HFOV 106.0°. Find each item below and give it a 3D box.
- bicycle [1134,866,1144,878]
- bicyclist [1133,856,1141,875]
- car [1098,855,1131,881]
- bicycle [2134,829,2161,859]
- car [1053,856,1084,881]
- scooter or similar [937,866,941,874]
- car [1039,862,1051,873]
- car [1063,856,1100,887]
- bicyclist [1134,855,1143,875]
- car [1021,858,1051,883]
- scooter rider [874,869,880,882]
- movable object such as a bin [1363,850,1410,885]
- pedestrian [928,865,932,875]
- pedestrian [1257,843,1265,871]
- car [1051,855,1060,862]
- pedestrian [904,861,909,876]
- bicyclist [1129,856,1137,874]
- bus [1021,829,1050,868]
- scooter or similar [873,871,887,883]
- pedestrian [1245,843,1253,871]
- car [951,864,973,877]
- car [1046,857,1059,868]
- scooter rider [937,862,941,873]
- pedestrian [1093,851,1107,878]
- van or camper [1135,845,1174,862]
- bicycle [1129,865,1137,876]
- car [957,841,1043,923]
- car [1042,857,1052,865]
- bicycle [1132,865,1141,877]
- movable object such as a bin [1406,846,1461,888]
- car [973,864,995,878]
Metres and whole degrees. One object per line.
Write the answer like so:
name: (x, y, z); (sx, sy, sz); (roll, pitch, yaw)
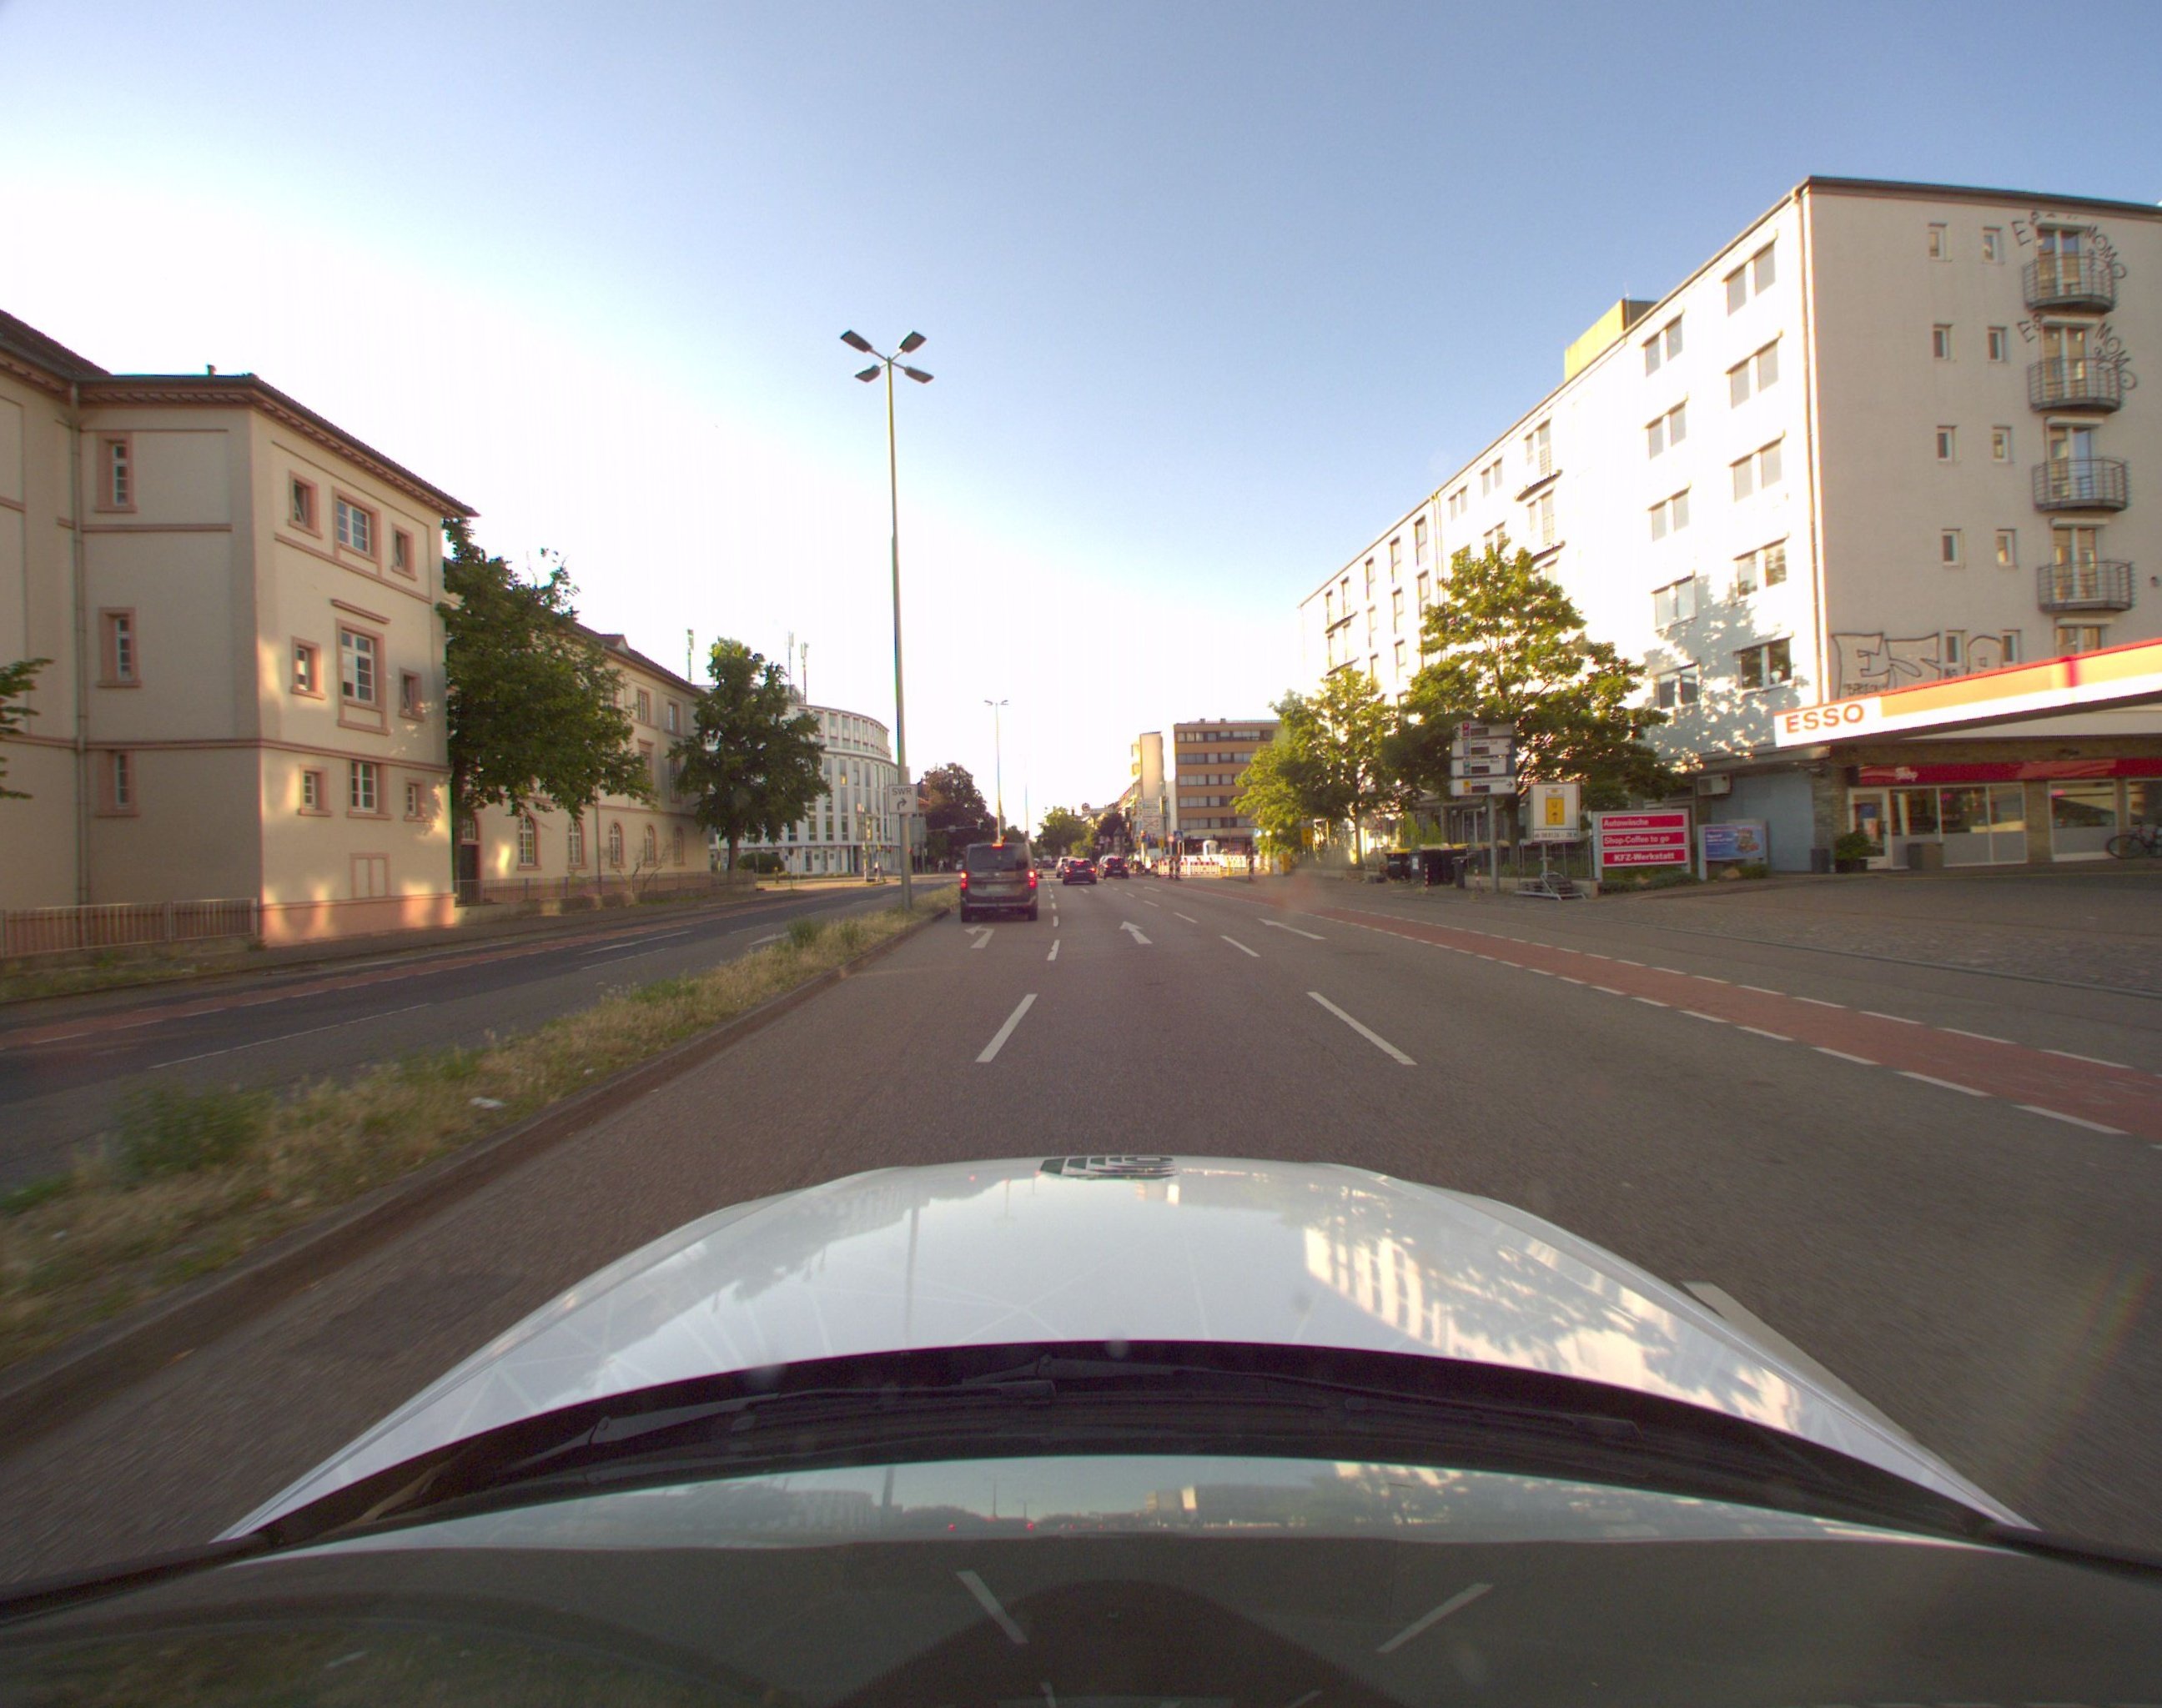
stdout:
bicycle: (4.307, 1.307, 60.565); (0.531, 0.847, 1.682); (-2, 0, -1)
bicyclist: (4.297, 0.859, 62.783); (0.539, 1.459, 0.641); (-2, -1, -1)
car: (2.261, 0.914, 55.358); (1.987, 1.656, 4.297); (-2, 0, -1)
bicycle: (30.547, -0.293, 22.417); (0.623, 0.829, 1.802); (-2, 1, -22)
car: (-0.967, 1.054, 60.349); (1.990, 1.656, 4.292); (-2, 0, -4)
scooter or similar: (-17.801, 2.001, 102.327); (0.357, 0.896, 0.904); (-2, 0, -1)
car: (-5.772, 2.135, 131.015); (1.737, 1.586, 3.998); (-2, 0, -1)
car: (0.068, 0.938, 45.011); (1.838, 1.544, 3.634); (-2, 0, 3)
bicyclist: (4.283, 0.841, 60.611); (0.539, 1.459, 0.641); (-2, -1, -1)
car: (-3.317, 1.185, 59.260); (1.990, 1.656, 4.292); (-2, 0, -4)
scooter rider: (-16.722, 1.758, 66.725); (0.509, 1.036, 0.444); (-1, -1, -13)
movable object such as a bin: (12.717, 0.544, 34.006); (1.455, 1.386, 1.550); (-2, 0, 6)
pedestrian: (-19.272, 2.002, 104.047); (0.353, 1.290, 0.379); (-2, -1, -1)
pedestrian: (13.130, 0.235, 59.353); (0.487, 2.013, 0.666); (-2, -1, 10)
car: (-6.494, 1.258, 208.992); (1.846, 1.708, 3.717); (-2, 0, -6)
pedestrian: (-20.403, 1.698, 95.165); (0.375, 1.660, 0.568); (-2, 0, -5)
bicyclist: (4.159, 0.885, 65.448); (0.539, 1.459, 0.641); (-2, -1, -1)
bus: (-5.730, -0.596, 101.800); (3.284, 4.617, 9.982); (-1, -1, -5)
scooter or similar: (-16.497, 1.865, 66.765); (1.100, 0.976, 0.557); (-1, -1, -12)
pedestrian: (12.277, 0.245, 59.576); (0.487, 2.013, 0.666); (-2, -1, 11)
car: (-15.586, 2.168, 106.660); (1.984, 1.595, 4.006); (-2, 0, 5)
car: (-4.124, 1.201, 119.528); (1.737, 1.586, 3.998); (-2, 0, -1)
scooter rider: (-17.807, 1.709, 102.303); (0.354, 1.373, 0.337); (-2, -1, -1)
pedestrian: (1.429, 0.821, 61.803); (1.015, 2.014, 1.097); (-1, -1, -1)
van or camper: (9.313, -0.084, 103.189); (4.524, 2.013, 2.011); (-2, 0, 22)
bicycle: (4.176, 1.345, 65.426); (0.531, 0.847, 1.682); (-2, 0, -1)
car: (-2.083, 0.643, 21.132); (1.991, 1.900, 4.291); (0, 0, -5)
car: (-7.268, 1.460, 175.732); (1.846, 1.708, 3.717); (-2, 0, -6)
bicycle: (4.309, 1.322, 62.815); (0.531, 0.847, 1.682); (-2, 0, -1)
movable object such as a bin: (13.213, 0.476, 30.570); (1.455, 1.454, 1.550); (-2, 0, 6)
car: (-12.781, 2.216, 107.355); (1.984, 1.595, 4.006); (-2, 0, 5)
